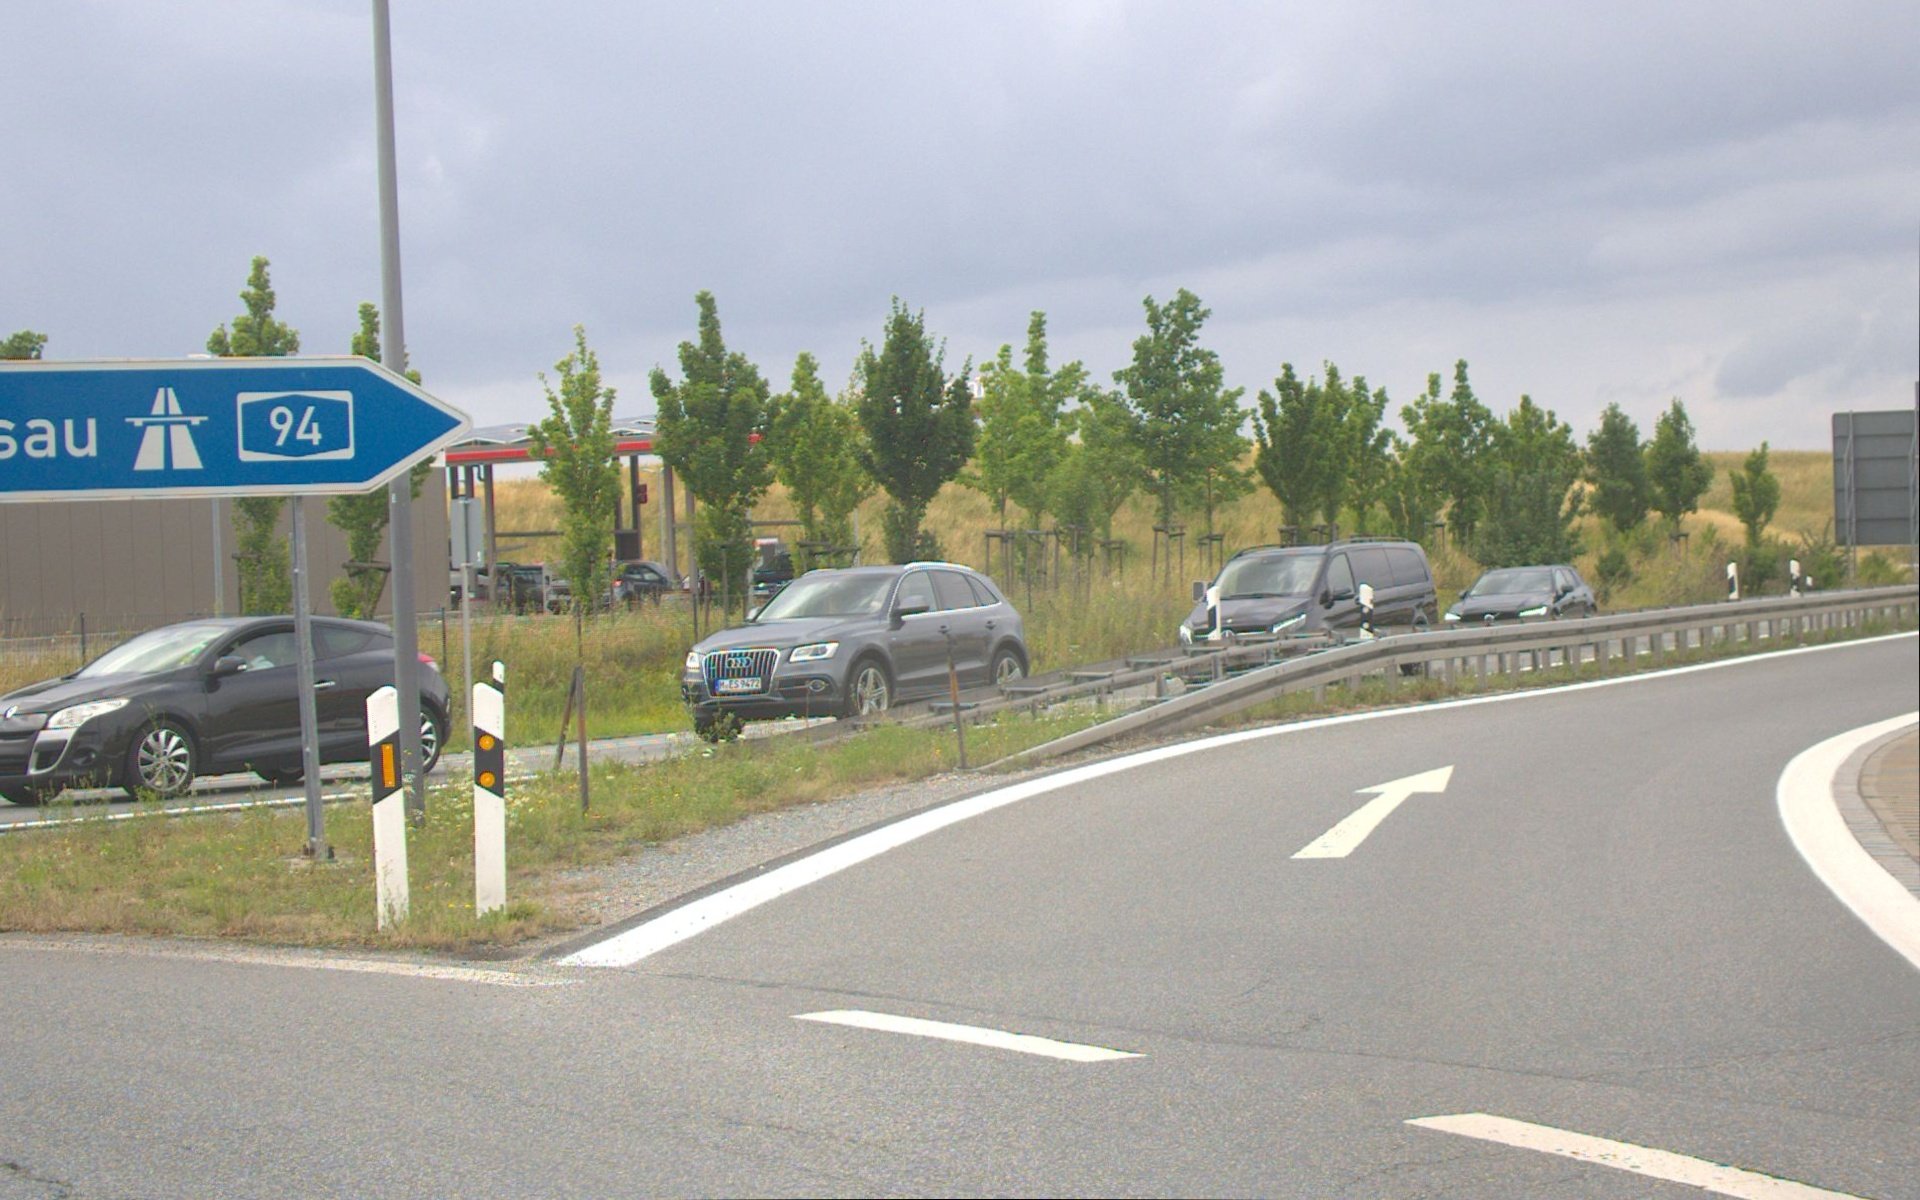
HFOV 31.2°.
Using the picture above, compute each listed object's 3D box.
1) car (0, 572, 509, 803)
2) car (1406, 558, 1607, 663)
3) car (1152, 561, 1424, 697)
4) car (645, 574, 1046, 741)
[{"bbox_3d":[-6.080,0.667,27.852,1.998,1.678,4.581,-3,-1,41],"label":"car"},{"bbox_3d":[9.417,0.169,58.969,1.996,1.678,4.585,-2,-1,27],"label":"car"},{"bbox_3d":[4.445,0.365,45.981,1.996,1.678,4.585,-2,-1,27],"label":"car"},{"bbox_3d":[-1.044,0.511,33.903,1.733,1.486,4.534,0,1,32],"label":"car"}]
